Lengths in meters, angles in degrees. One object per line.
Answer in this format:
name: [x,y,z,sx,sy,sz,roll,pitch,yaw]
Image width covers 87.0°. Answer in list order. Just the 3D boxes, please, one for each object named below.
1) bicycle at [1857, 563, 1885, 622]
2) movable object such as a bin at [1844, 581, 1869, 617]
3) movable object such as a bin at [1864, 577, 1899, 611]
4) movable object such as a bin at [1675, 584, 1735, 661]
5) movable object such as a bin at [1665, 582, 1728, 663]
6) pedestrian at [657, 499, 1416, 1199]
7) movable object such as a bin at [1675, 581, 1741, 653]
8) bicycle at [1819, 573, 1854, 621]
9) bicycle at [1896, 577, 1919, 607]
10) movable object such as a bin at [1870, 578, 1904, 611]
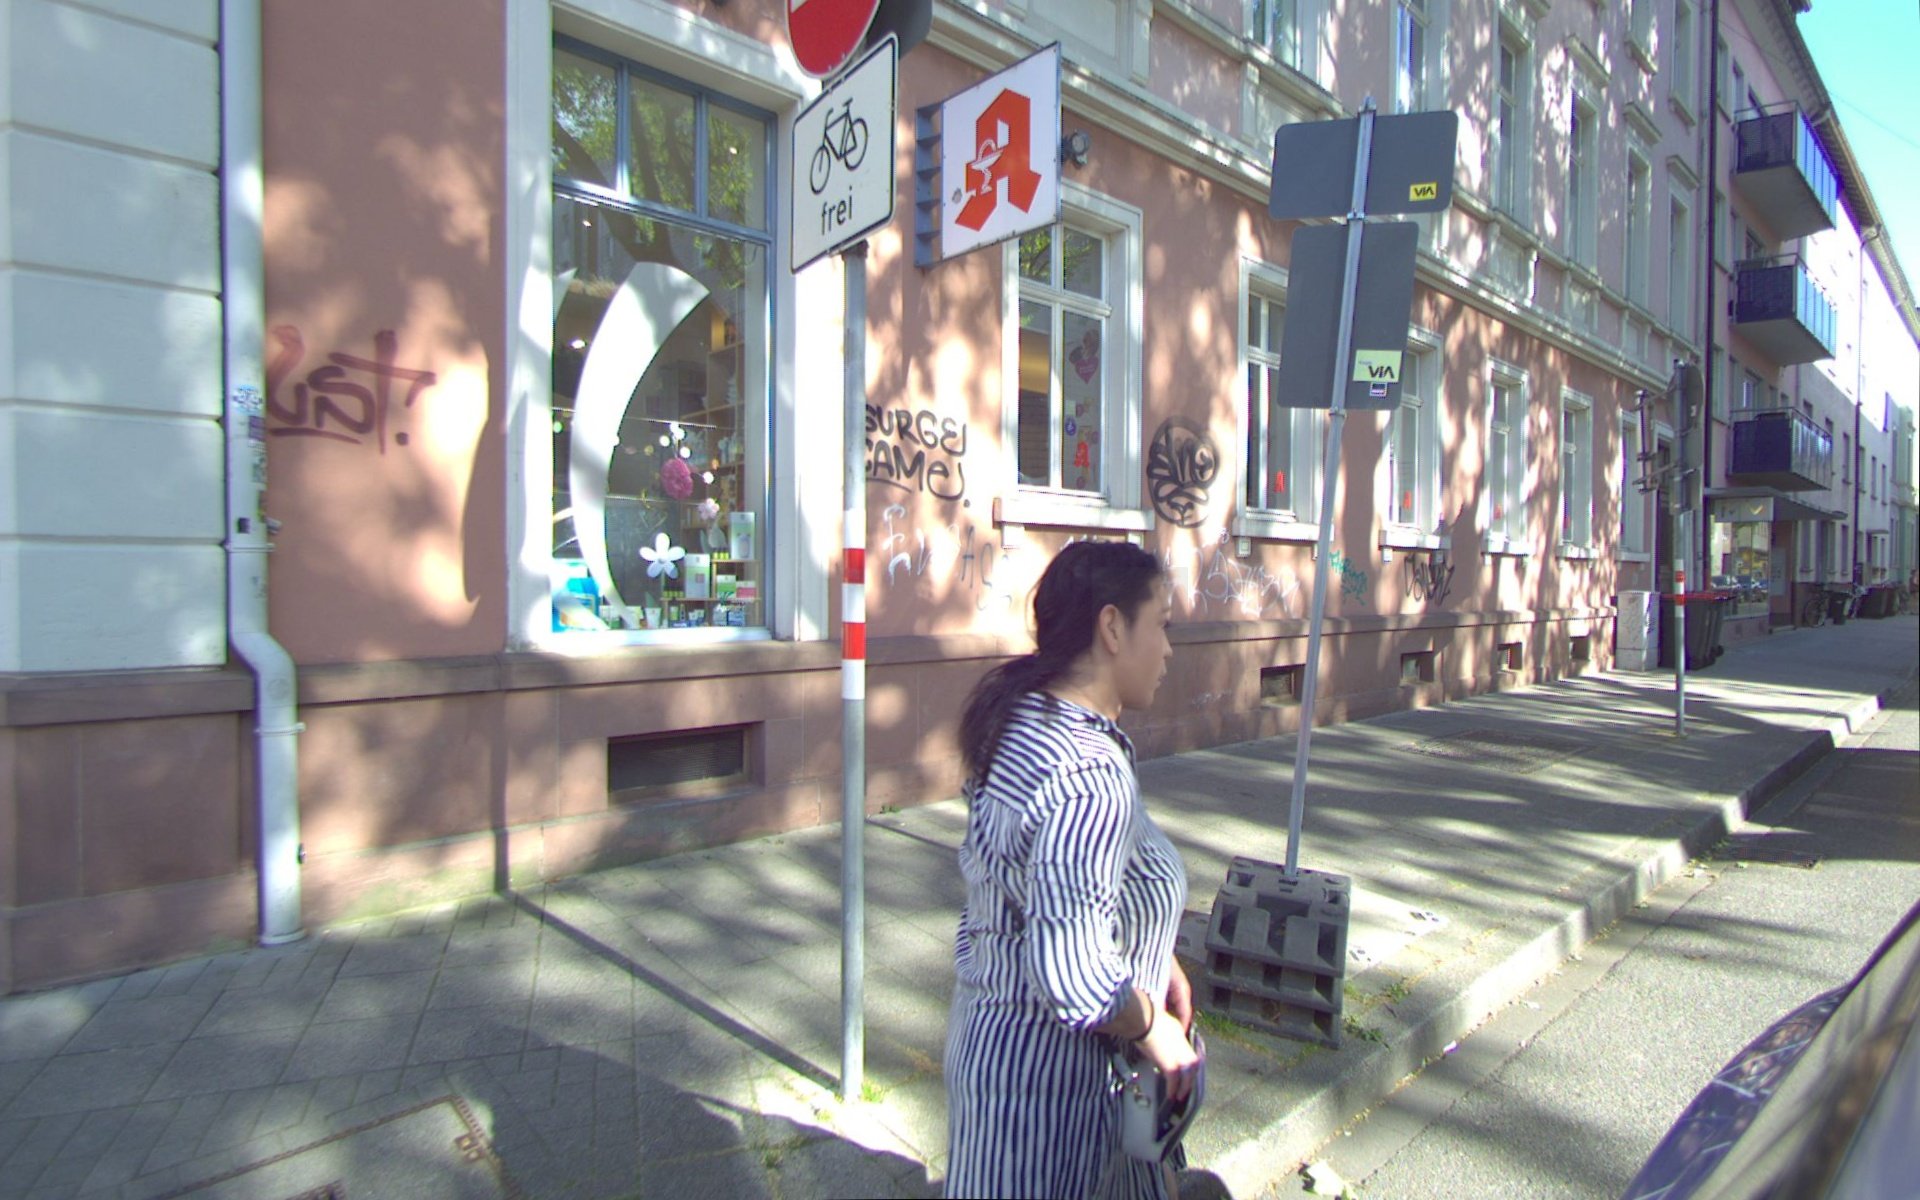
bicycle: [27.816,-0.246,30.886,2.070,1.757,0.402,-1,1,-41]
movable object such as a bin: [24.193,-0.038,27.313,0.297,0.951,0.415,-1,4,-43]
movable object such as a bin: [29.173,-0.193,32.043,0.537,1.014,0.716,-1,4,-43]
movable object such as a bin: [11.030,0.321,14.983,0.602,1.071,0.570,-1,4,-43]
movable object such as a bin: [10.587,0.304,14.553,0.643,1.097,0.570,-1,4,-43]
pedestrian: [0.123,0.663,1.589,0.835,1.591,0.843,4,6,16]
movable object such as a bin: [12.170,0.253,16.473,0.608,1.097,0.717,-1,4,-43]
bicycle: [22.225,-0.101,25.641,1.990,1.164,0.402,-1,2,-41]
bicycle: [35.167,-0.307,37.501,1.899,1.109,0.489,-1,2,-41]
movable object such as a bin: [29.661,-0.180,32.371,0.537,1.014,0.716,-1,4,-43]
